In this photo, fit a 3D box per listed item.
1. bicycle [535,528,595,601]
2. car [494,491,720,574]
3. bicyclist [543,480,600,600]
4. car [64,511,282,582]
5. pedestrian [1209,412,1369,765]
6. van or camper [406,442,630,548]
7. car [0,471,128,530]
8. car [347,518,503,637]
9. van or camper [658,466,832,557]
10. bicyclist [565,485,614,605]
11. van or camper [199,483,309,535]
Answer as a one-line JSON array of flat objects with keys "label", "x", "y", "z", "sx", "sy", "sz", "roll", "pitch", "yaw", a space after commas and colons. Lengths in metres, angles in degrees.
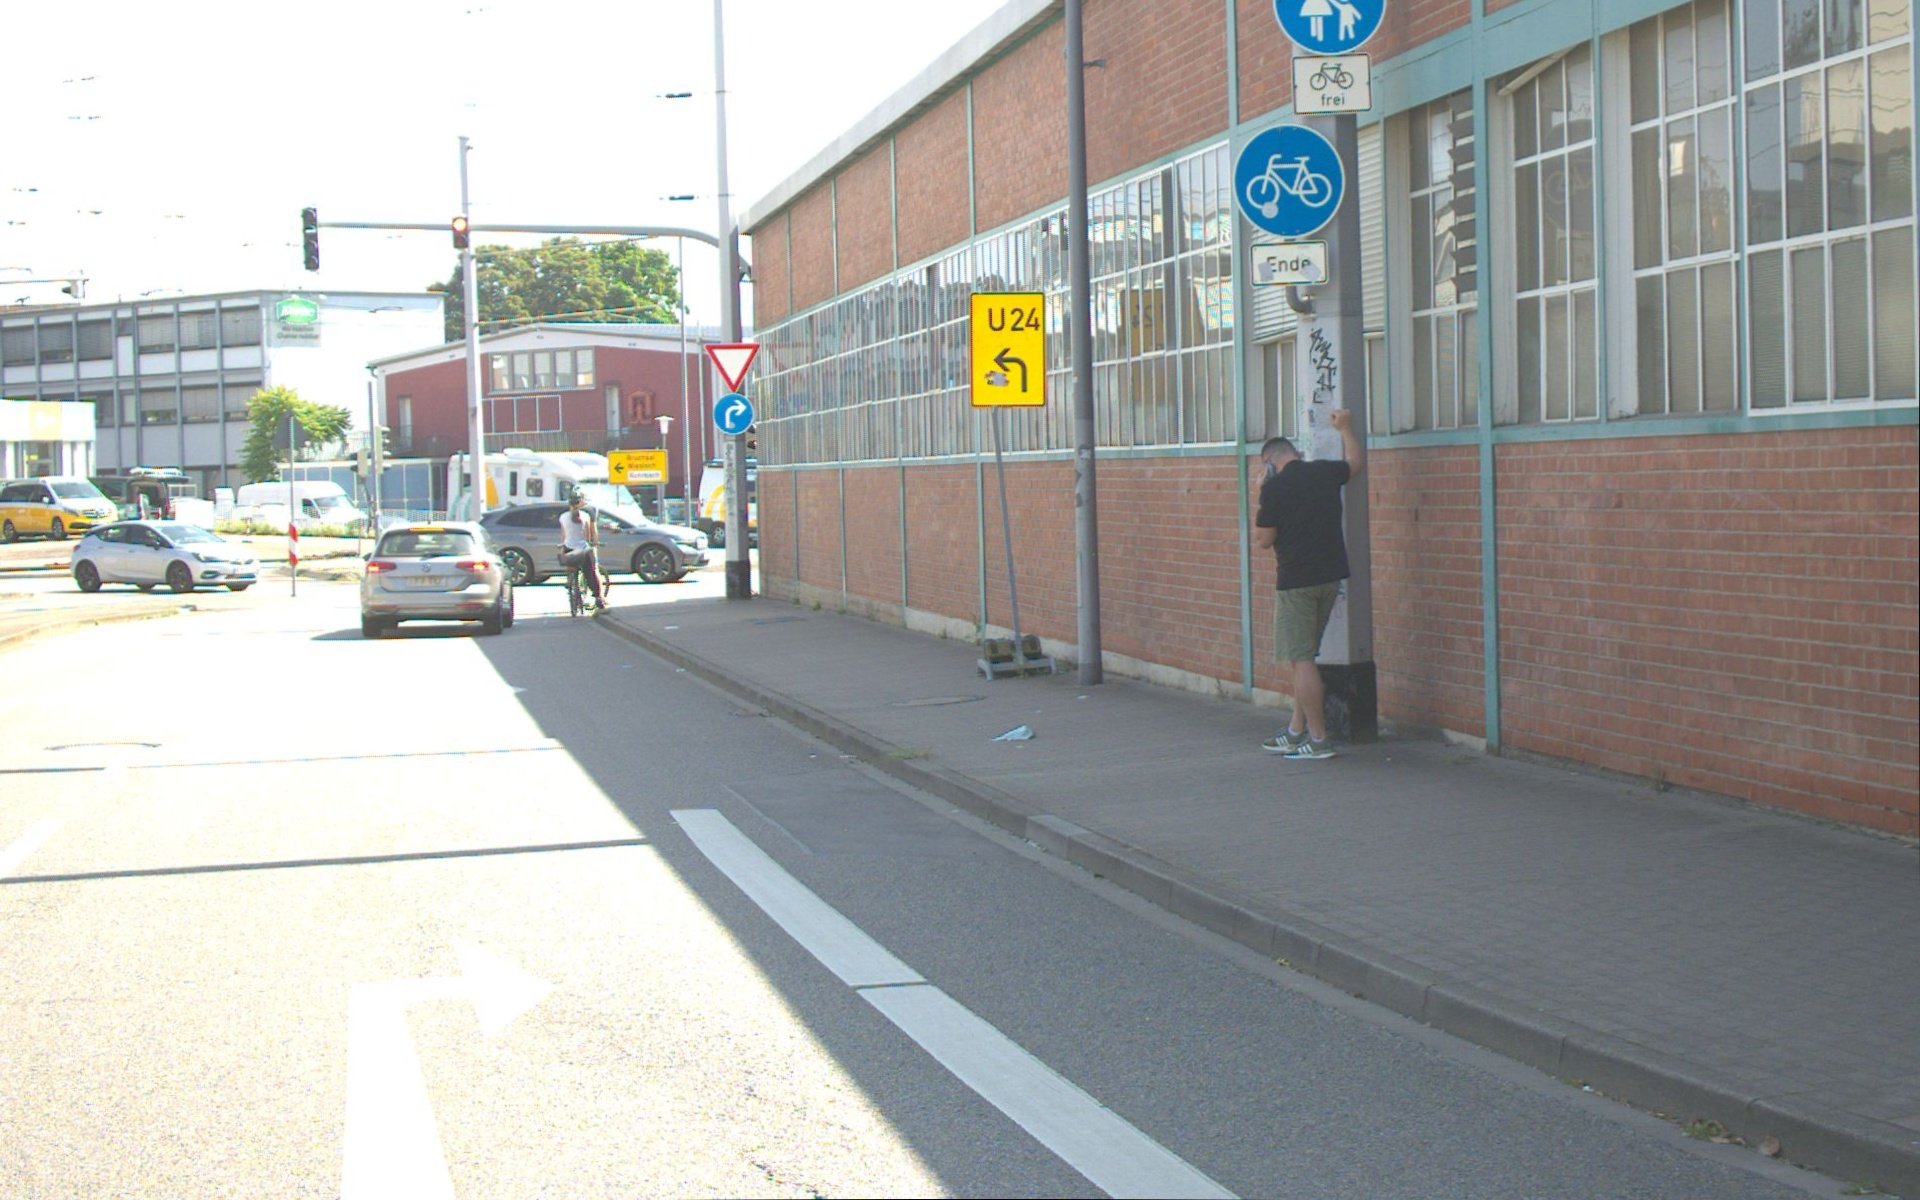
[{"label": "bicycle", "x": -5.780, "y": -0.530, "z": 50.367, "sx": 0.794, "sy": 1.018, "sz": 2.151, "roll": -1, "pitch": 2, "yaw": -5}, {"label": "car", "x": -6.820, "y": -1.322, "z": 66.630, "sx": 3.988, "sy": 1.503, "sz": 1.879, "roll": -1, "pitch": 2, "yaw": 9}, {"label": "bicyclist", "x": -5.674, "y": -0.883, "z": 50.259, "sx": 0.785, "sy": 1.715, "sz": 1.147, "roll": -1, "pitch": 2, "yaw": -5}, {"label": "car", "x": -16.077, "y": -1.086, "z": 70.231, "sx": 4.198, "sy": 1.370, "sz": 1.800, "roll": 0, "pitch": 2, "yaw": 30}, {"label": "pedestrian", "x": 1.677, "y": -0.073, "z": 17.557, "sx": 0.684, "sy": 1.758, "sz": 0.449, "roll": -2, "pitch": 4, "yaw": -19}, {"label": "van or camper", "x": -13.050, "y": -3.140, "z": 101.222, "sx": 6.980, "sy": 2.920, "sz": 2.349, "roll": 3, "pitch": 5, "yaw": 39}, {"label": "car", "x": -28.021, "y": -3.080, "z": 106.848, "sx": 1.939, "sy": 1.753, "sz": 5.120, "roll": -3, "pitch": 2, "yaw": -42}, {"label": "car", "x": -7.064, "y": -0.338, "z": 45.711, "sx": 1.746, "sy": 1.454, "sz": 4.001, "roll": -1, "pitch": 2, "yaw": -5}, {"label": "van or camper", "x": -6.523, "y": -2.711, "z": 103.997, "sx": 2.284, "sy": 2.431, "sz": 5.383, "roll": -4, "pitch": 7, "yaw": -45}, {"label": "bicyclist", "x": -5.682, "y": -0.852, "z": 52.751, "sx": 0.707, "sy": 1.804, "sz": 0.983, "roll": -1, "pitch": 2, "yaw": -6}, {"label": "van or camper", "x": -27.430, "y": -3.522, "z": 133.538, "sx": 3.995, "sy": 1.941, "sz": 1.996, "roll": 0, "pitch": 2, "yaw": 35}]
